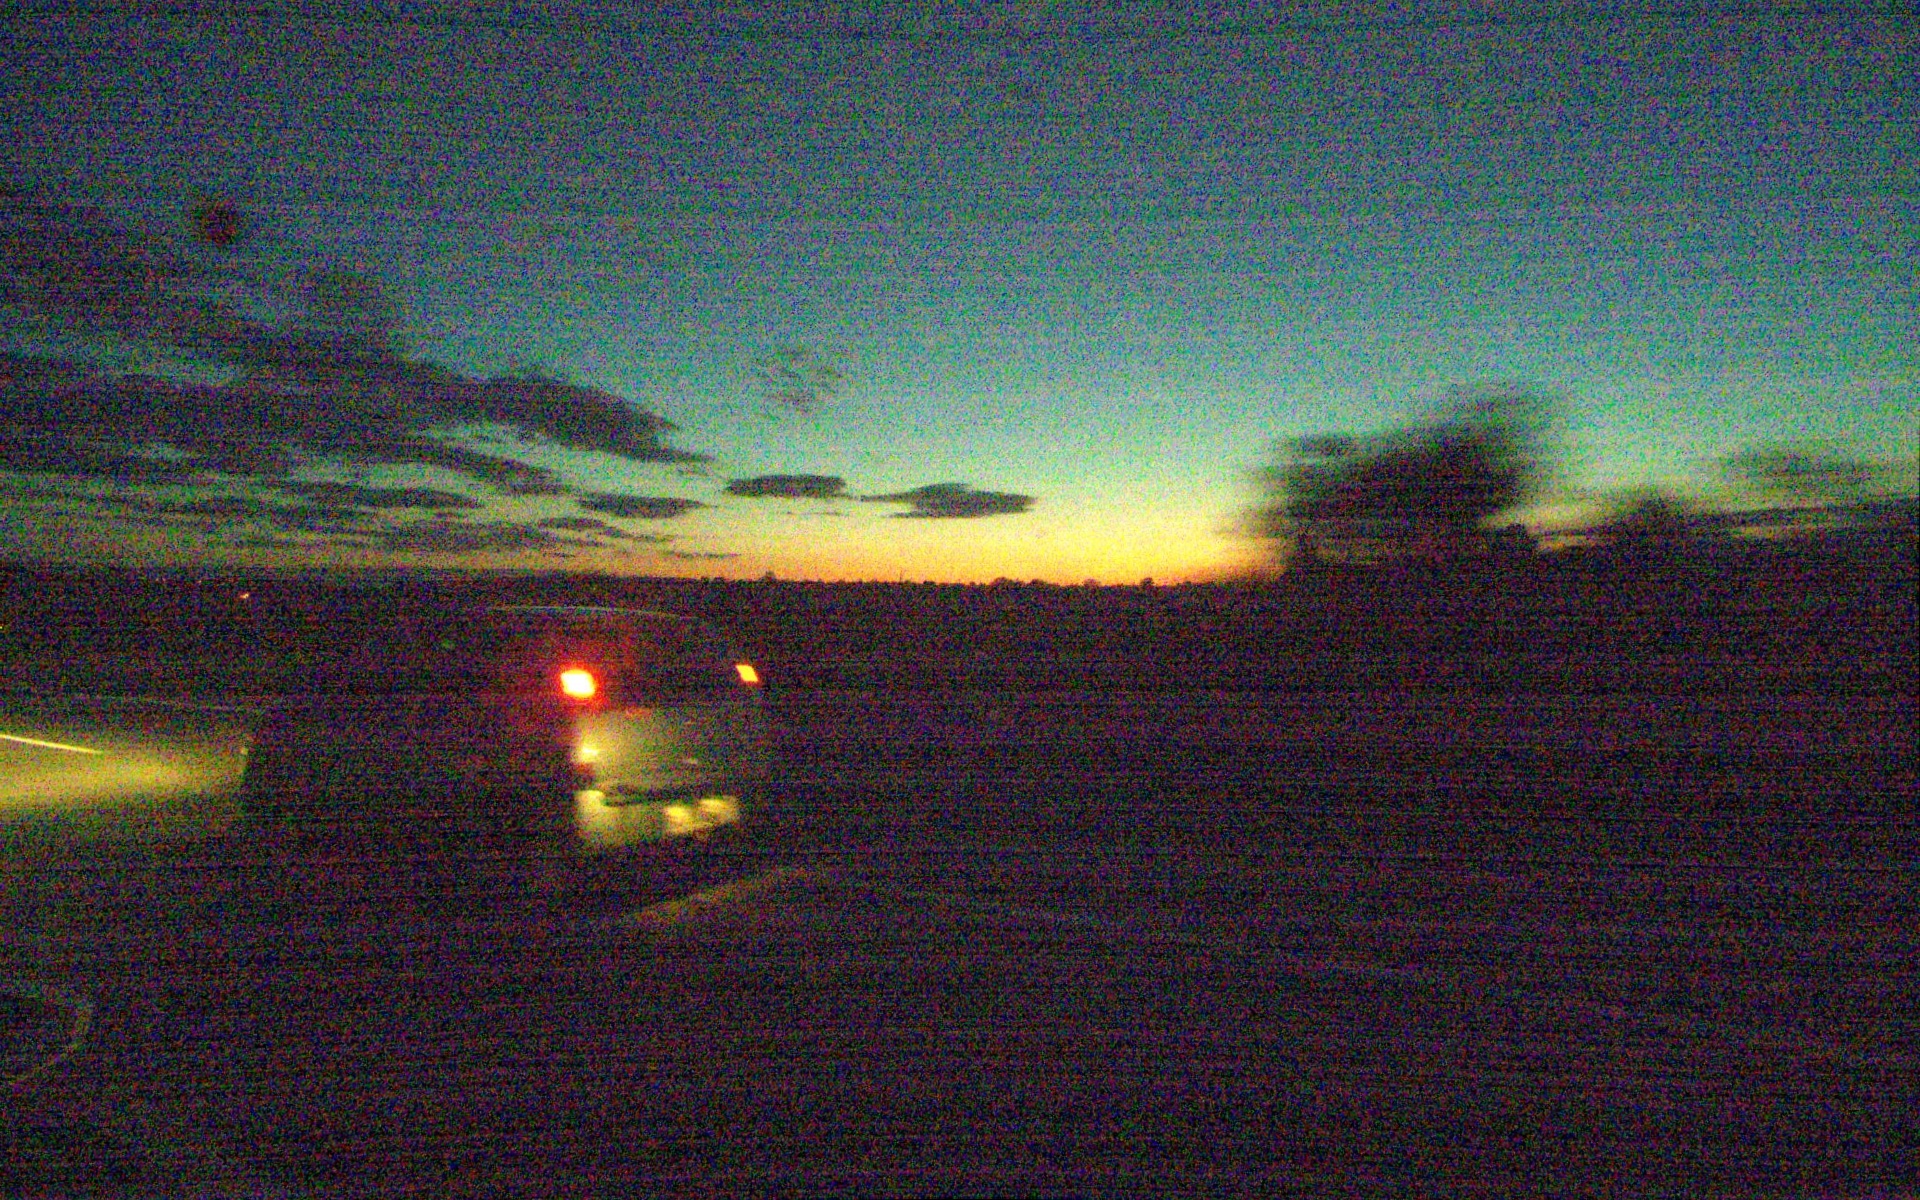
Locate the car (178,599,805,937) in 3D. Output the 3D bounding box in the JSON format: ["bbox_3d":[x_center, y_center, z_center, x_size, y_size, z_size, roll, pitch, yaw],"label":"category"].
[{"bbox_3d":[-3.271,0.829,6.671,4.444,1.618,1.643,0,0,32],"label":"car"}]
